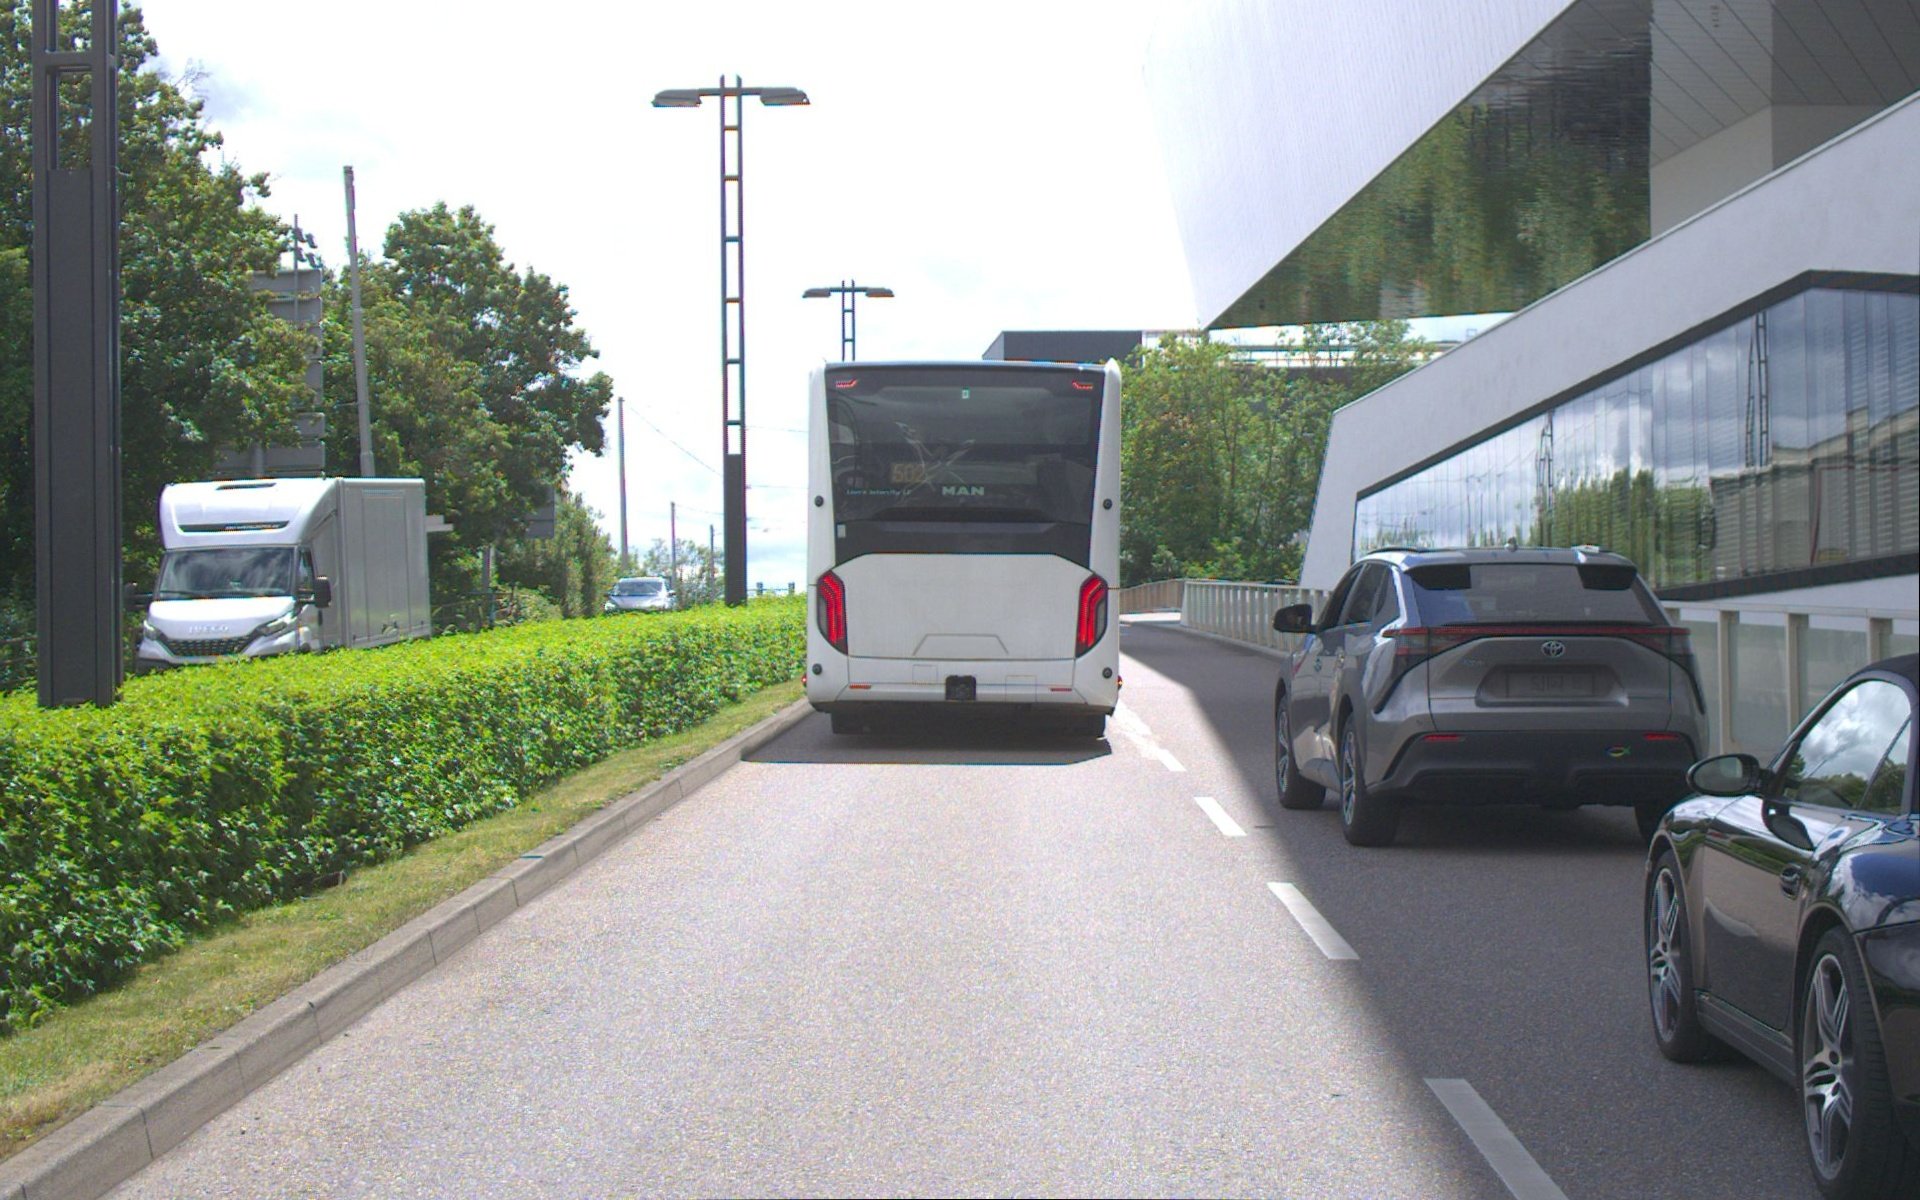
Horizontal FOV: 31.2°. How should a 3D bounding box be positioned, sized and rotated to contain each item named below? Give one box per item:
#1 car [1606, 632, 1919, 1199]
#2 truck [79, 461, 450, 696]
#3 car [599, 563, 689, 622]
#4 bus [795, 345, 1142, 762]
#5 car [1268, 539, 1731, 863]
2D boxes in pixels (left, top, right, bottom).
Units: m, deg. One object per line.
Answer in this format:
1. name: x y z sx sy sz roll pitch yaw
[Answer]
1. car: 2.912 0.739 8.903 1.720 1.271 4.088 0 0 0
2. truck: -9.239 -0.425 46.902 2.855 2.847 9.377 -1 2 2
3. car: -8.520 -0.213 93.050 1.840 1.502 4.561 -1 0 2
4. bus: 0.158 -0.474 33.159 2.689 3.244 12.057 1 1 1
5. car: 2.883 0.511 19.284 1.879 1.589 4.229 1 0 0
